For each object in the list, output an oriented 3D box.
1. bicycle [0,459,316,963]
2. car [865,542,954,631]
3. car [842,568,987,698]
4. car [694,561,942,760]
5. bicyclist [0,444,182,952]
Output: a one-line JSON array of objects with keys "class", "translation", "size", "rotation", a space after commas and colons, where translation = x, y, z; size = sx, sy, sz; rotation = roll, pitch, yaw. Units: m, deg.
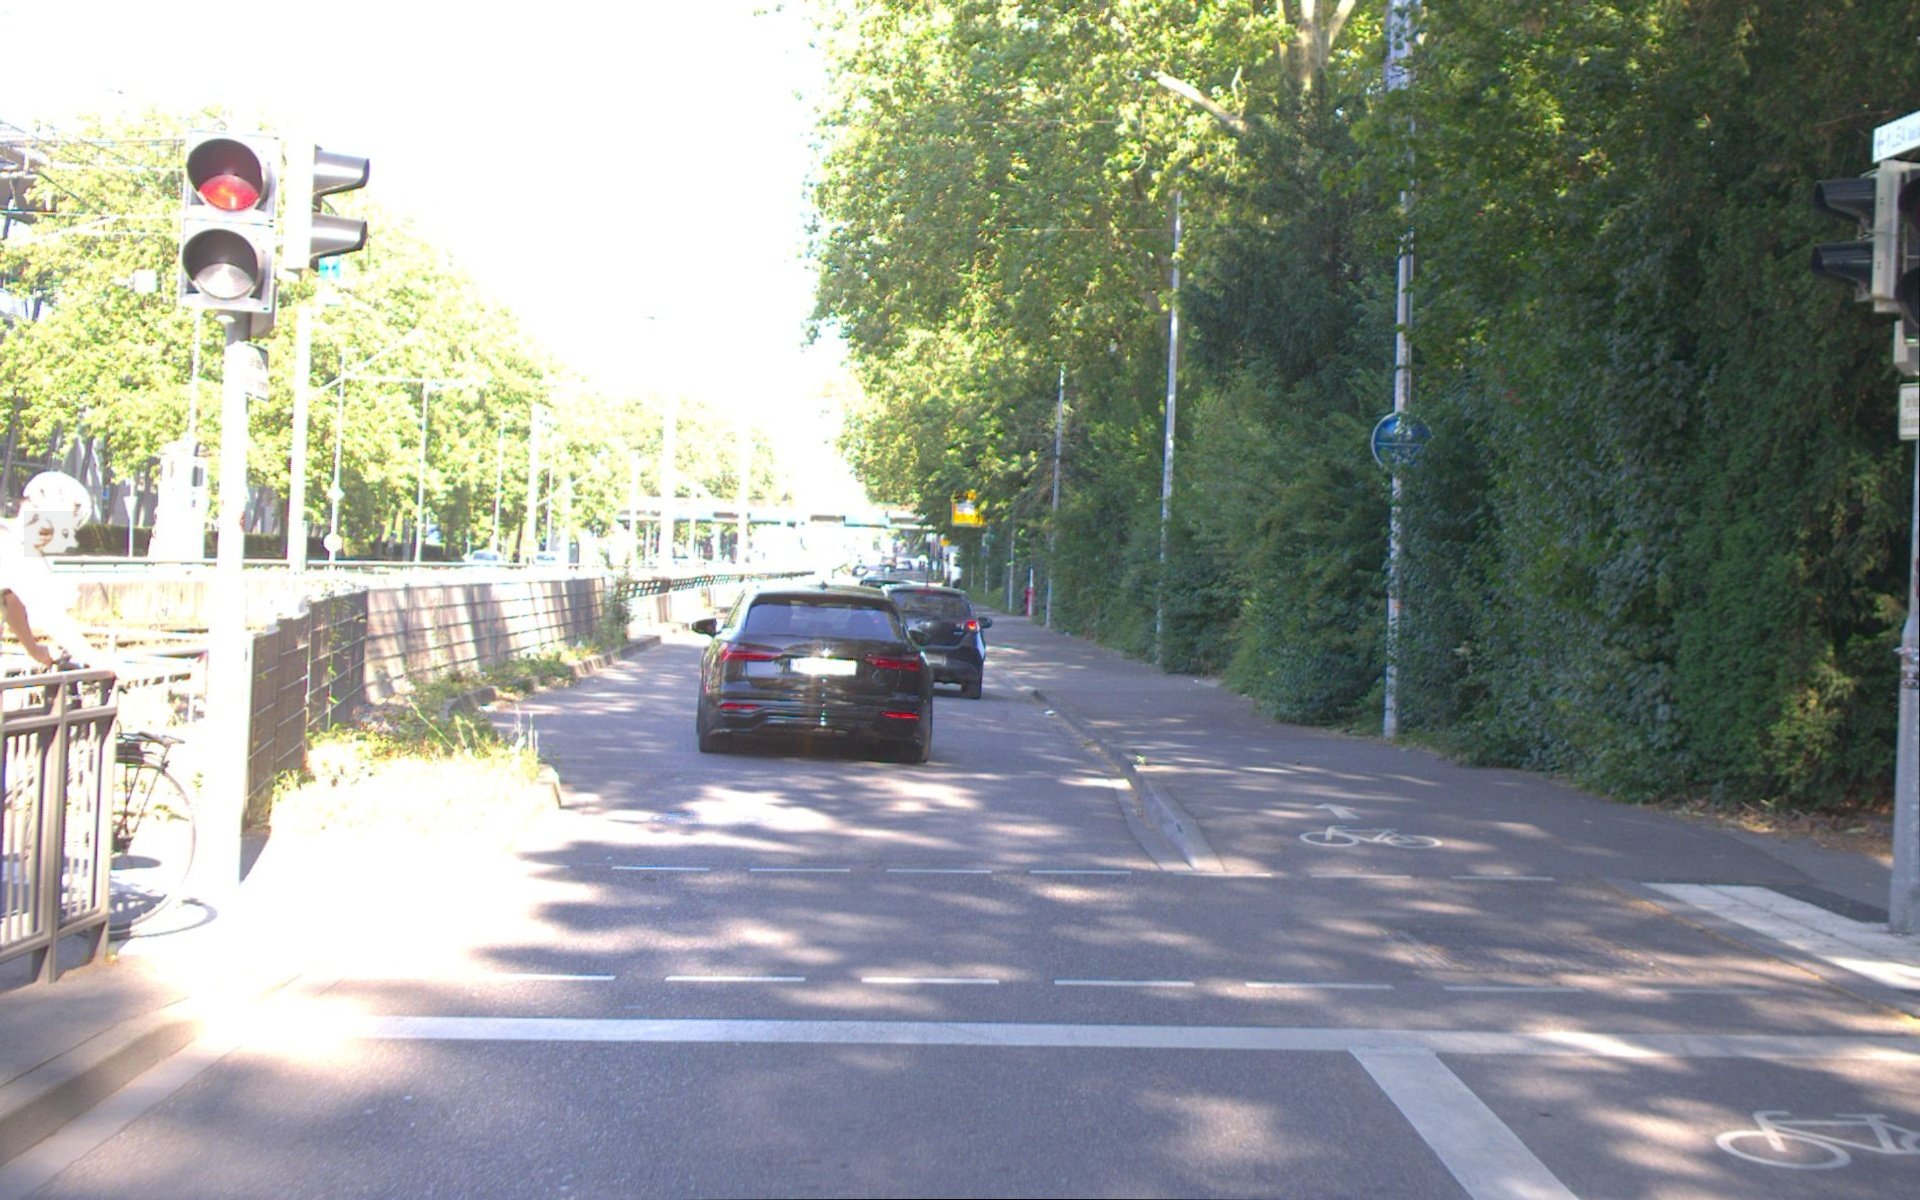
[{"class": "bicycle", "translation": [-3.285, 0.373, 12.045], "size": [0.591, 1.711, 1.968], "rotation": [3, 1, 45]}, {"class": "car", "translation": [-1.214, -0.344, 82.697], "size": [1.993, 2.007, 4.000], "rotation": [2, 1, -1]}, {"class": "car", "translation": [-0.662, 0.416, 47.216], "size": [1.762, 1.614, 4.001], "rotation": [2, 1, -3]}, {"class": "car", "translation": [-1.204, 0.455, 28.578], "size": [1.878, 1.452, 3.357], "rotation": [3, 1, -3]}, {"class": "bicyclist", "translation": [-3.353, 0.321, 11.981], "size": [0.770, 1.711, 0.907], "rotation": [3, 1, 44]}]
